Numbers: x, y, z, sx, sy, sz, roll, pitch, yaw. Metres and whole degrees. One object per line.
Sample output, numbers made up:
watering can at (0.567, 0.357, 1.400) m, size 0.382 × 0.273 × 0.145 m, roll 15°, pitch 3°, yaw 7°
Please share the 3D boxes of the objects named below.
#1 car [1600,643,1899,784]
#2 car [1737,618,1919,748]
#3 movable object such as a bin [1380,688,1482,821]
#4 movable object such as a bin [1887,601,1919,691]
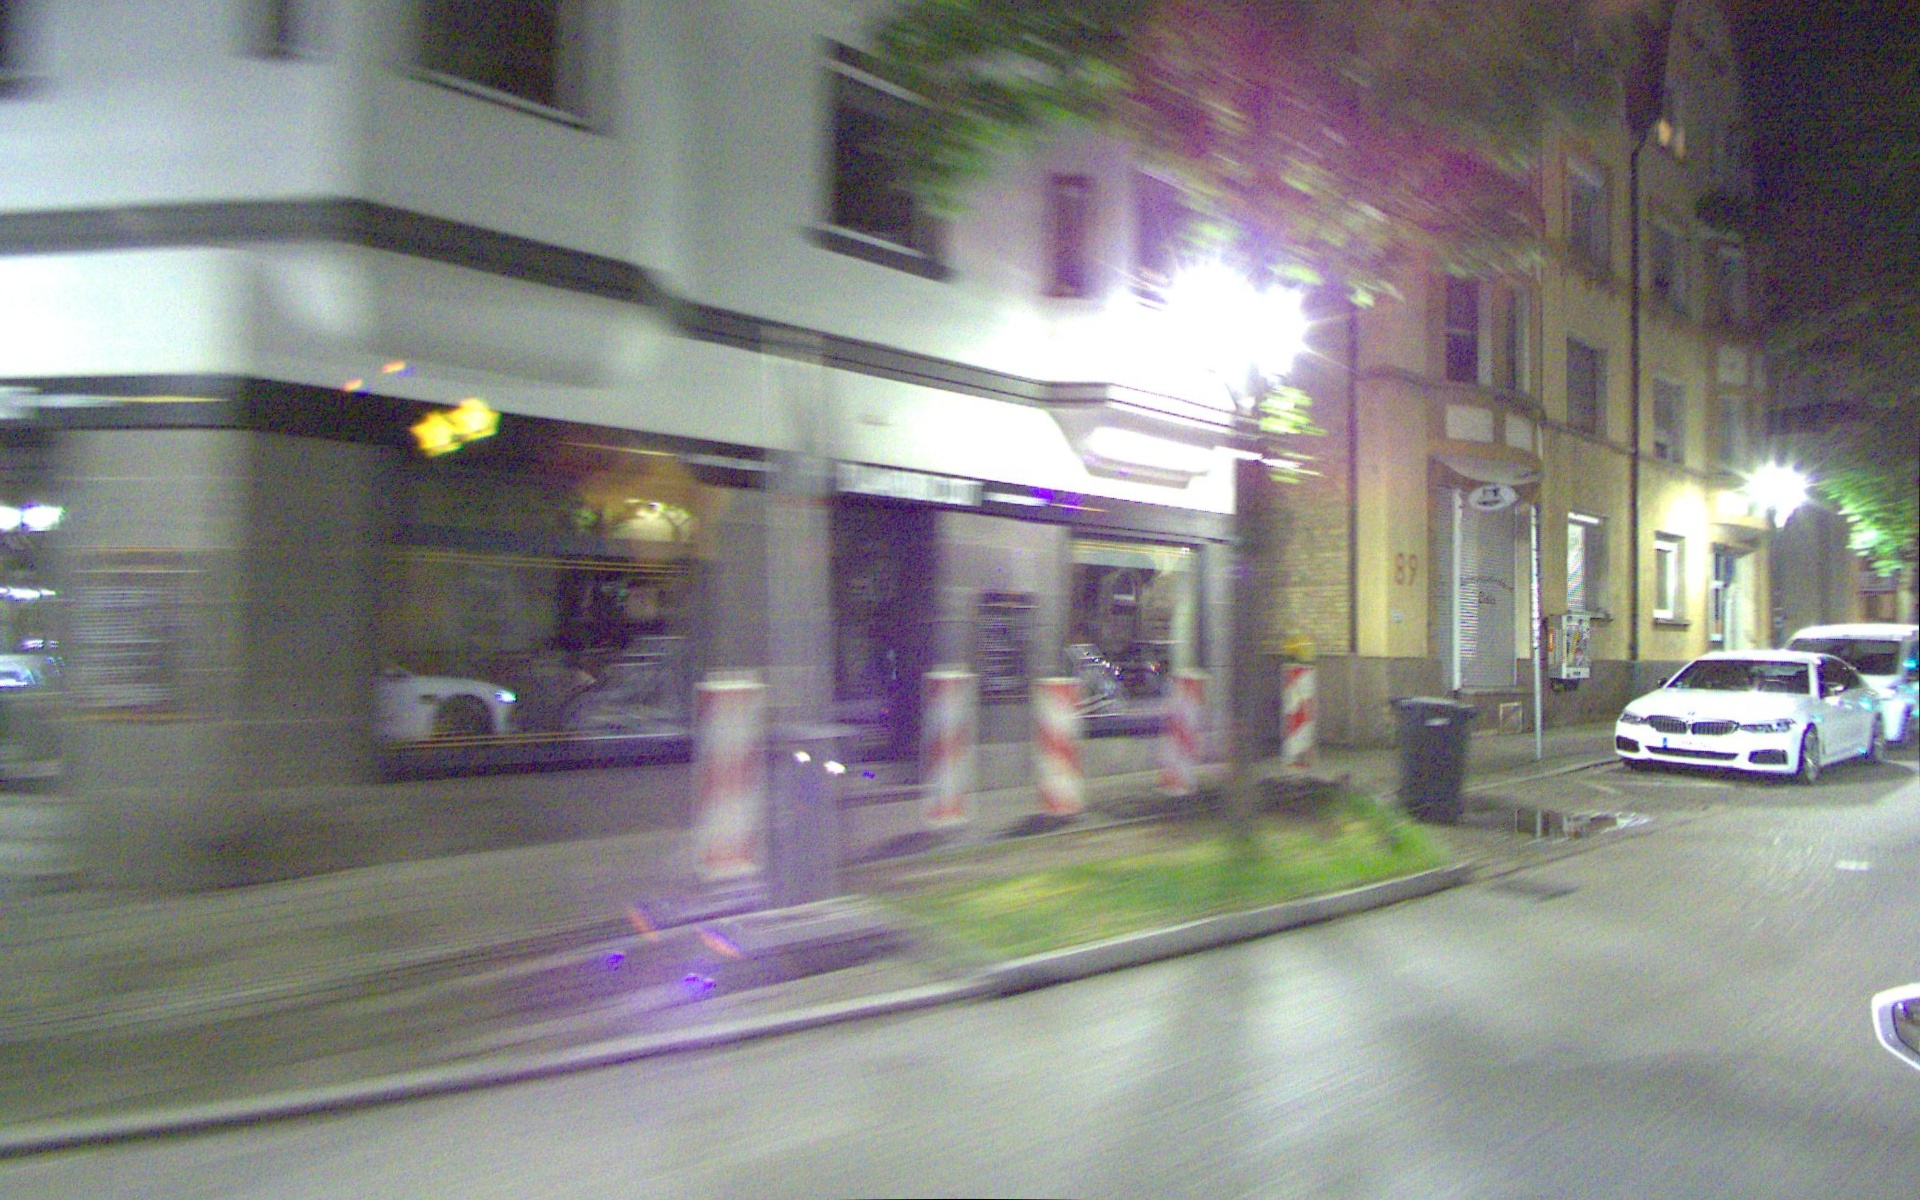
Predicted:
car at (10.343, 1.333, 13.027) m, size 4.834 × 1.469 × 1.826 m, roll 2°, pitch -2°, yaw -36°
car at (14.738, 1.267, 16.606) m, size 4.771 × 1.867 × 1.869 m, roll 2°, pitch -2°, yaw -38°
movable object such as a bin at (4.138, 1.339, 8.862) m, size 0.675 × 1.063 × 0.626 m, roll 2°, pitch -1°, yaw 13°
movable object such as a bin at (29.996, 1.398, 30.769) m, size 3.872 × 2.661 × 1.561 m, roll 2°, pitch -3°, yaw -36°
